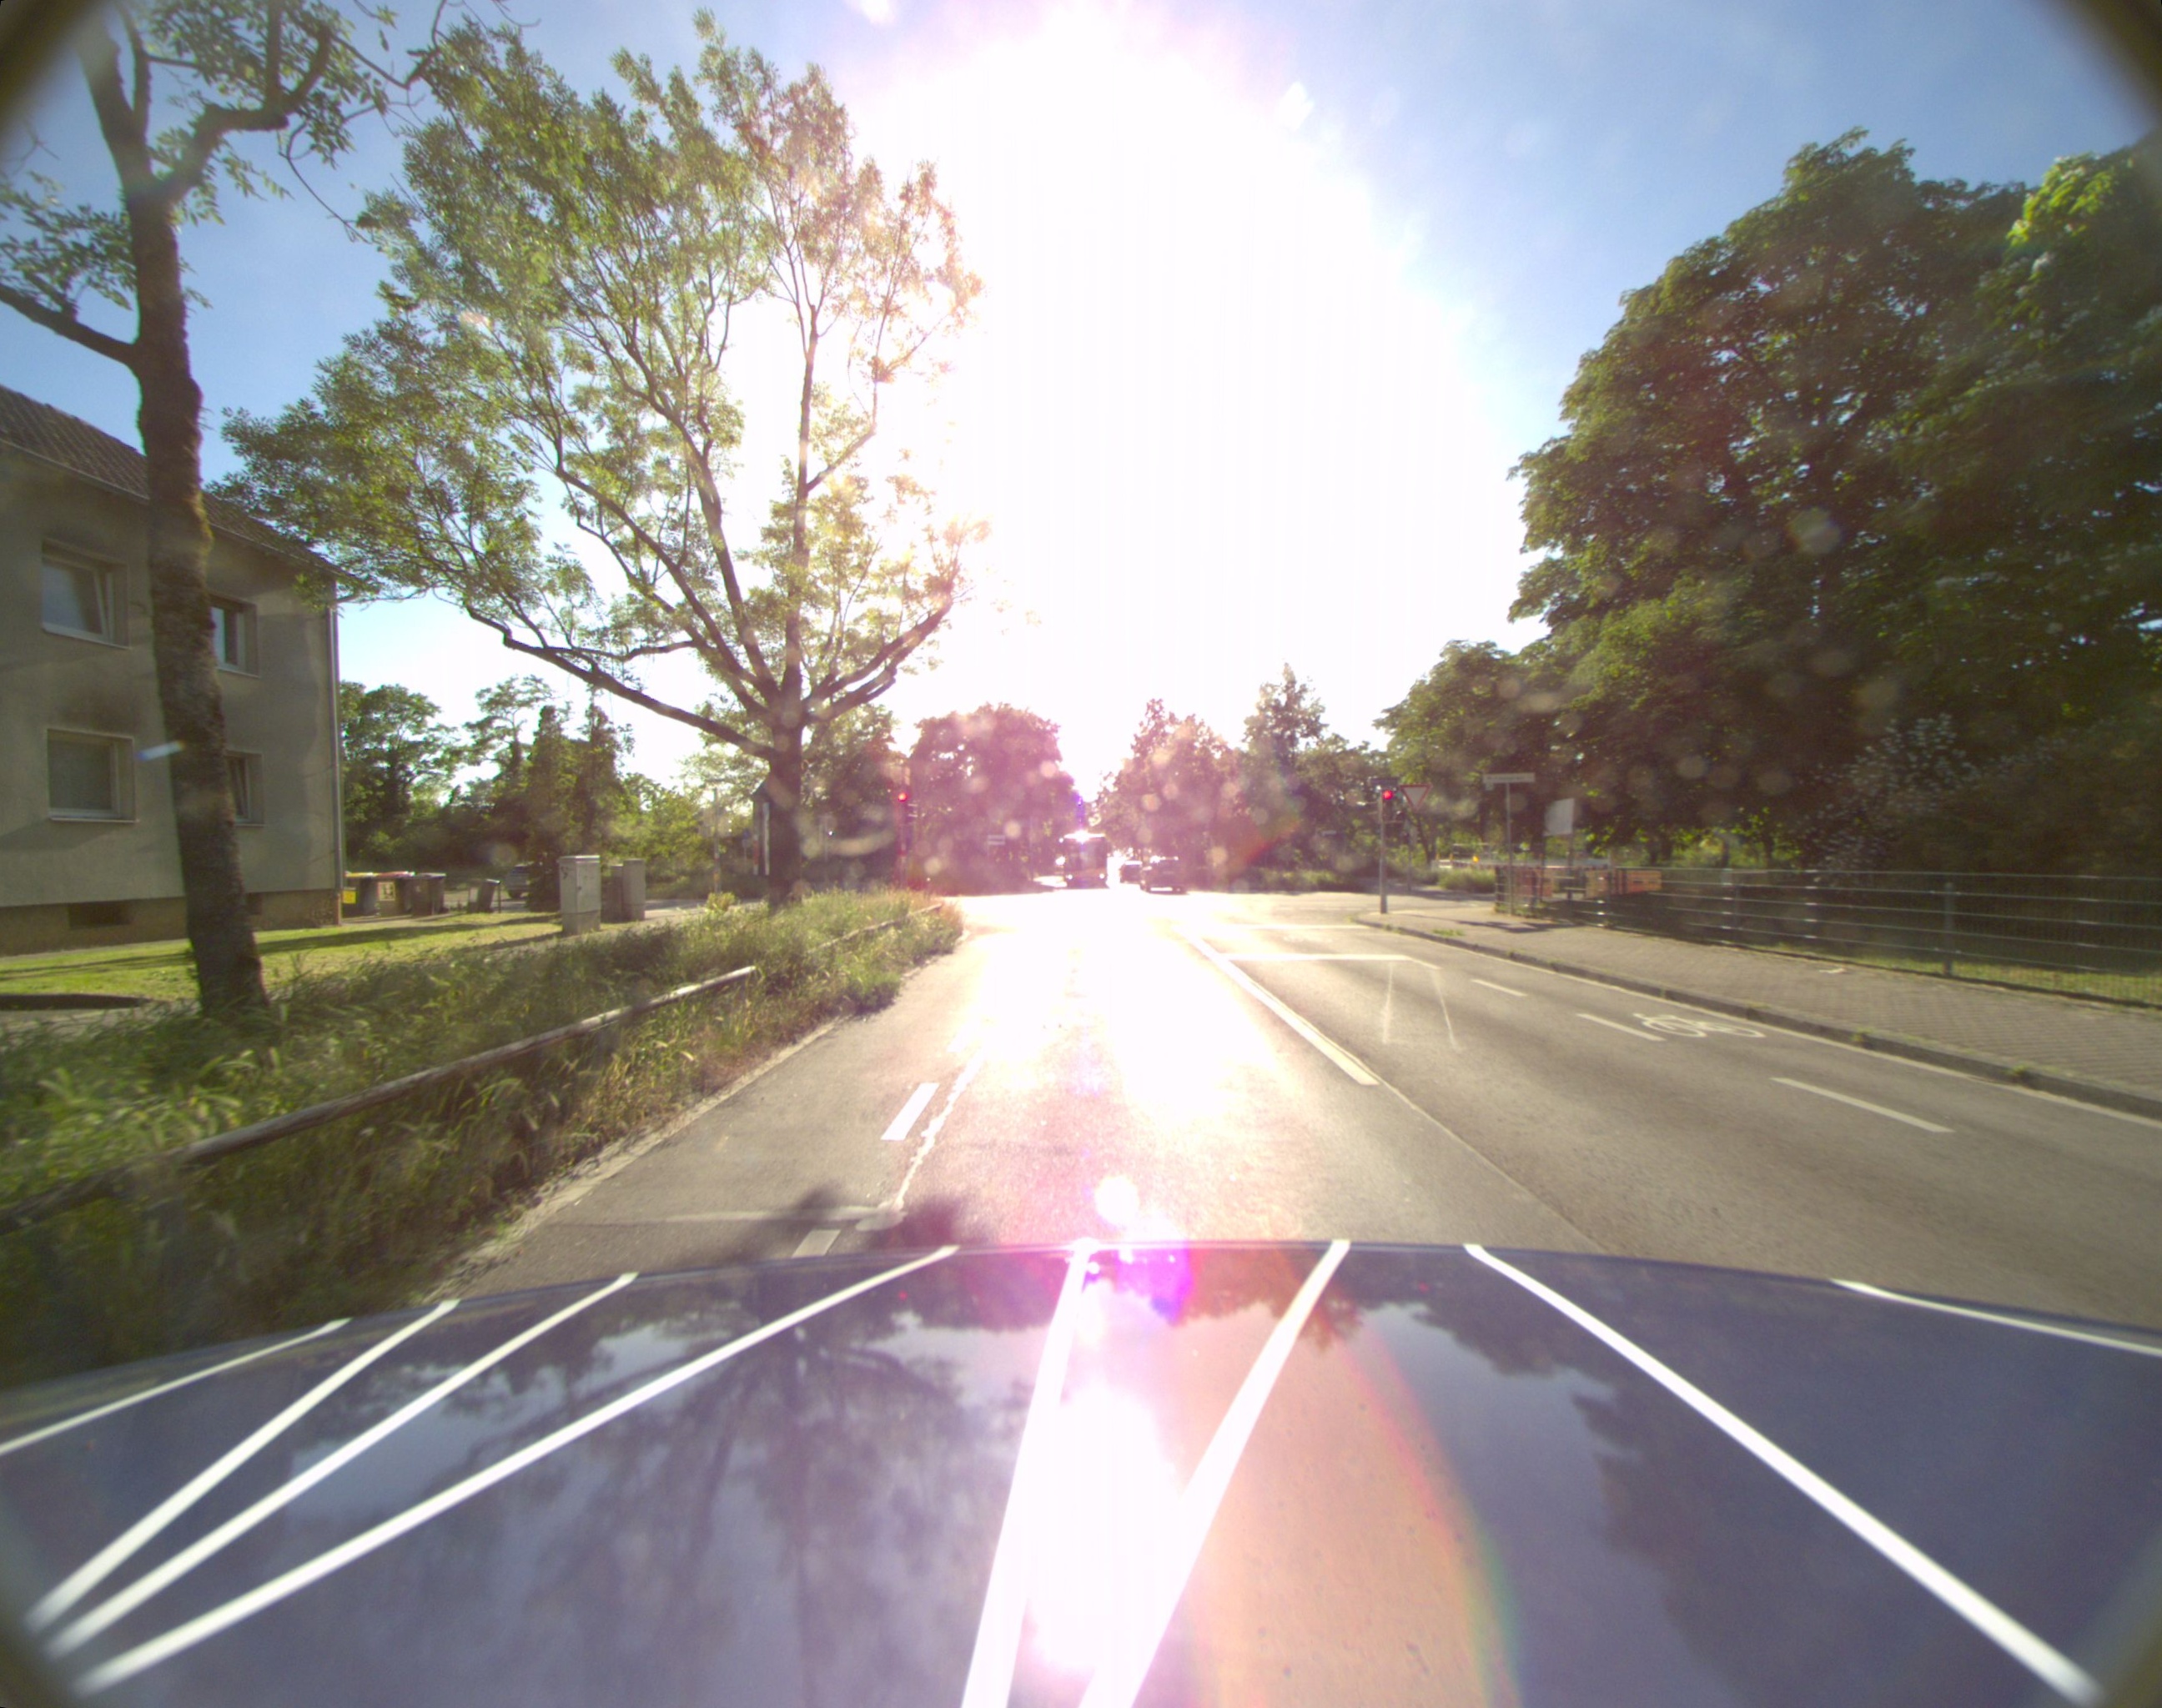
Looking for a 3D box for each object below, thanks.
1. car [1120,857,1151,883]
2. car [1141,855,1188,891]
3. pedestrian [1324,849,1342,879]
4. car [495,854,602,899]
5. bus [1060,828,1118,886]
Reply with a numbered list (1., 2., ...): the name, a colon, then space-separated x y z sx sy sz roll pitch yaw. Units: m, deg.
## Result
1. car: 3.656 1.048 51.292 1.810 1.447 3.848 1 3 0
2. car: 3.858 0.855 35.703 1.819 1.608 4.392 0 0 2
3. pedestrian: 14.140 0.562 42.654 0.800 1.624 0.647 -2 0 1
4. car: -24.484 0.976 35.149 1.868 1.642 4.444 -2 3 -3
5. bus: 0.576 0.228 48.305 3.128 3.080 12.481 -2 -1 1
